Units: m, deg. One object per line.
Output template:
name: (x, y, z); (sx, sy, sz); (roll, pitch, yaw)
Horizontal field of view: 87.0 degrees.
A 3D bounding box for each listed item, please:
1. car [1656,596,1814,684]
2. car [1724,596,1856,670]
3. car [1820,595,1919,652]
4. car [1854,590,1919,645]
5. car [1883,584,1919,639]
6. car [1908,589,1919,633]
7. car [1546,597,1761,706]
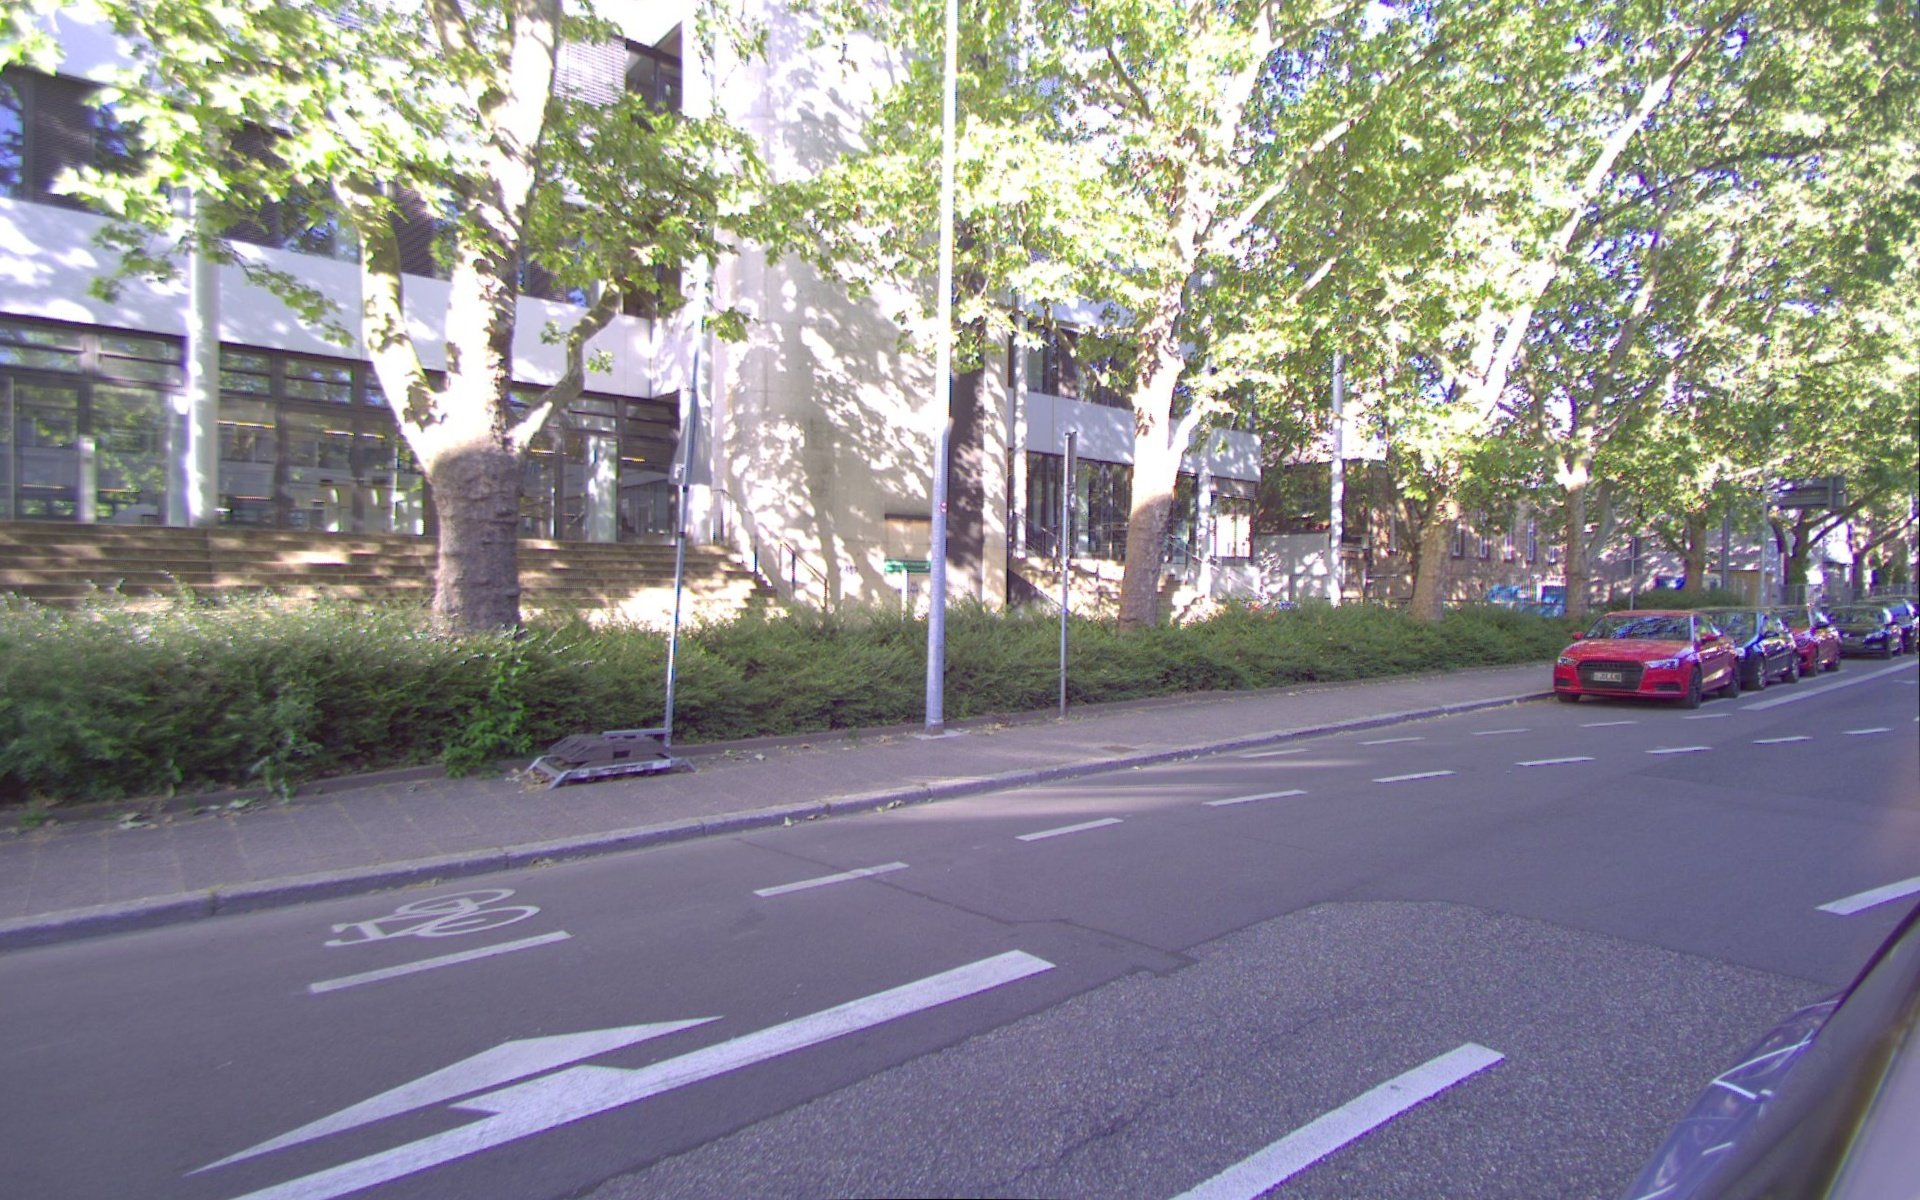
car: (14.523, 0.675, 18.908); (3.675, 1.483, 1.634); (0, -1, -41)
car: (18.313, 0.670, 22.287); (3.675, 1.483, 1.634); (0, -1, -41)
car: (25.525, 0.623, 28.341); (3.675, 1.483, 1.634); (0, -1, -41)
car: (29.102, 0.500, 31.343); (3.778, 1.607, 1.634); (0, -1, -41)
car: (33.610, 0.378, 35.298); (3.778, 1.828, 1.634); (0, -1, -41)
car: (38.435, 0.420, 39.528); (3.778, 1.675, 1.634); (0, -1, -41)
car: (10.935, 0.710, 15.862); (4.053, 1.483, 1.802); (0, -1, -41)
